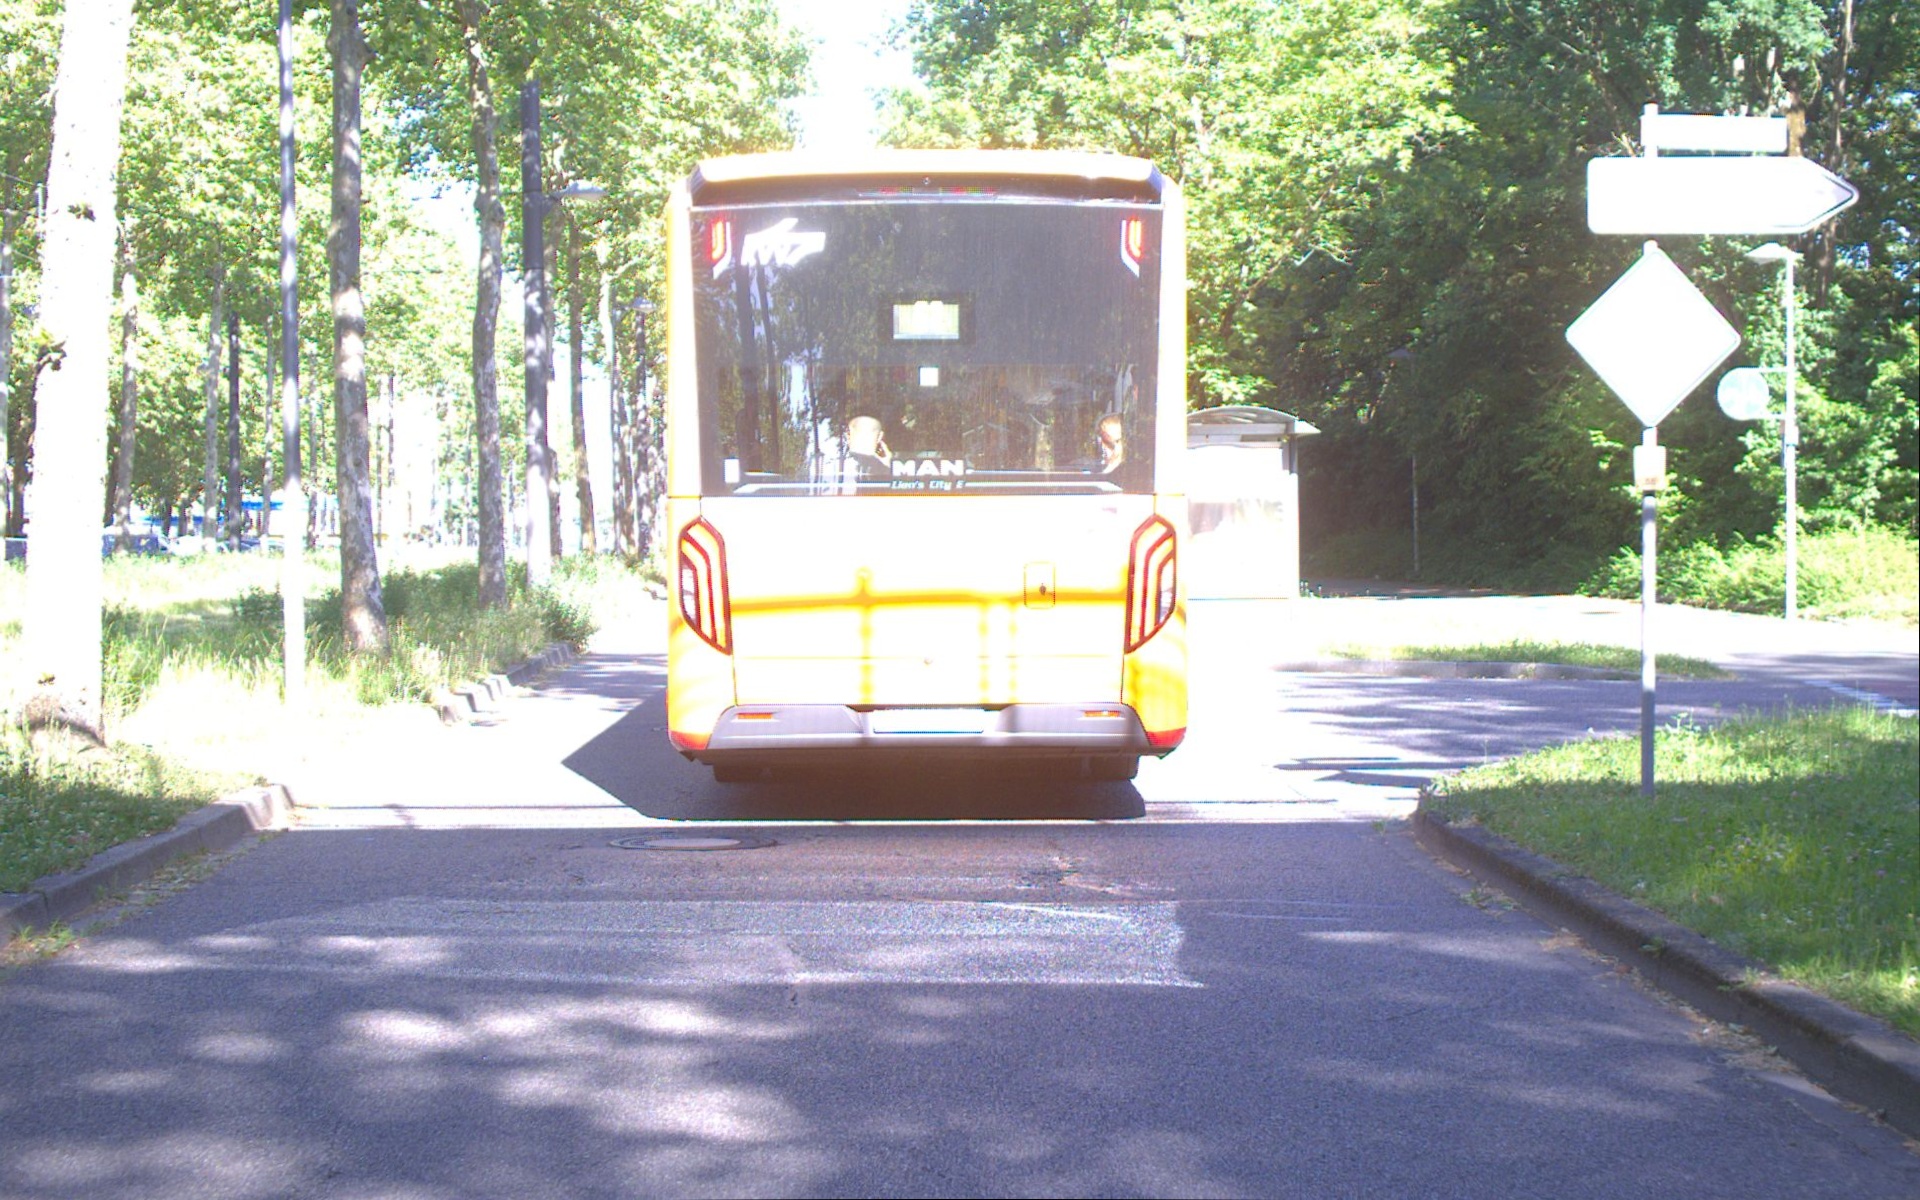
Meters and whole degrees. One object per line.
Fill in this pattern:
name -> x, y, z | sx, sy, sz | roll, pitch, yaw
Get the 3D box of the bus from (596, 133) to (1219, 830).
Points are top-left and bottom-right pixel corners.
bus -> -0.422, -0.692, 22.277 | 2.899, 3.255, 12.219 | -1, 1, -2

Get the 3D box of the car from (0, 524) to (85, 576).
car -> -27.613, -1.501, 102.644 | 1.794, 1.505, 4.000 | -1, 1, 2

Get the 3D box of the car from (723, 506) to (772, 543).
car -> -10.062, -3.589, 163.048 | 1.986, 1.637, 4.134 | 2, 2, 0
